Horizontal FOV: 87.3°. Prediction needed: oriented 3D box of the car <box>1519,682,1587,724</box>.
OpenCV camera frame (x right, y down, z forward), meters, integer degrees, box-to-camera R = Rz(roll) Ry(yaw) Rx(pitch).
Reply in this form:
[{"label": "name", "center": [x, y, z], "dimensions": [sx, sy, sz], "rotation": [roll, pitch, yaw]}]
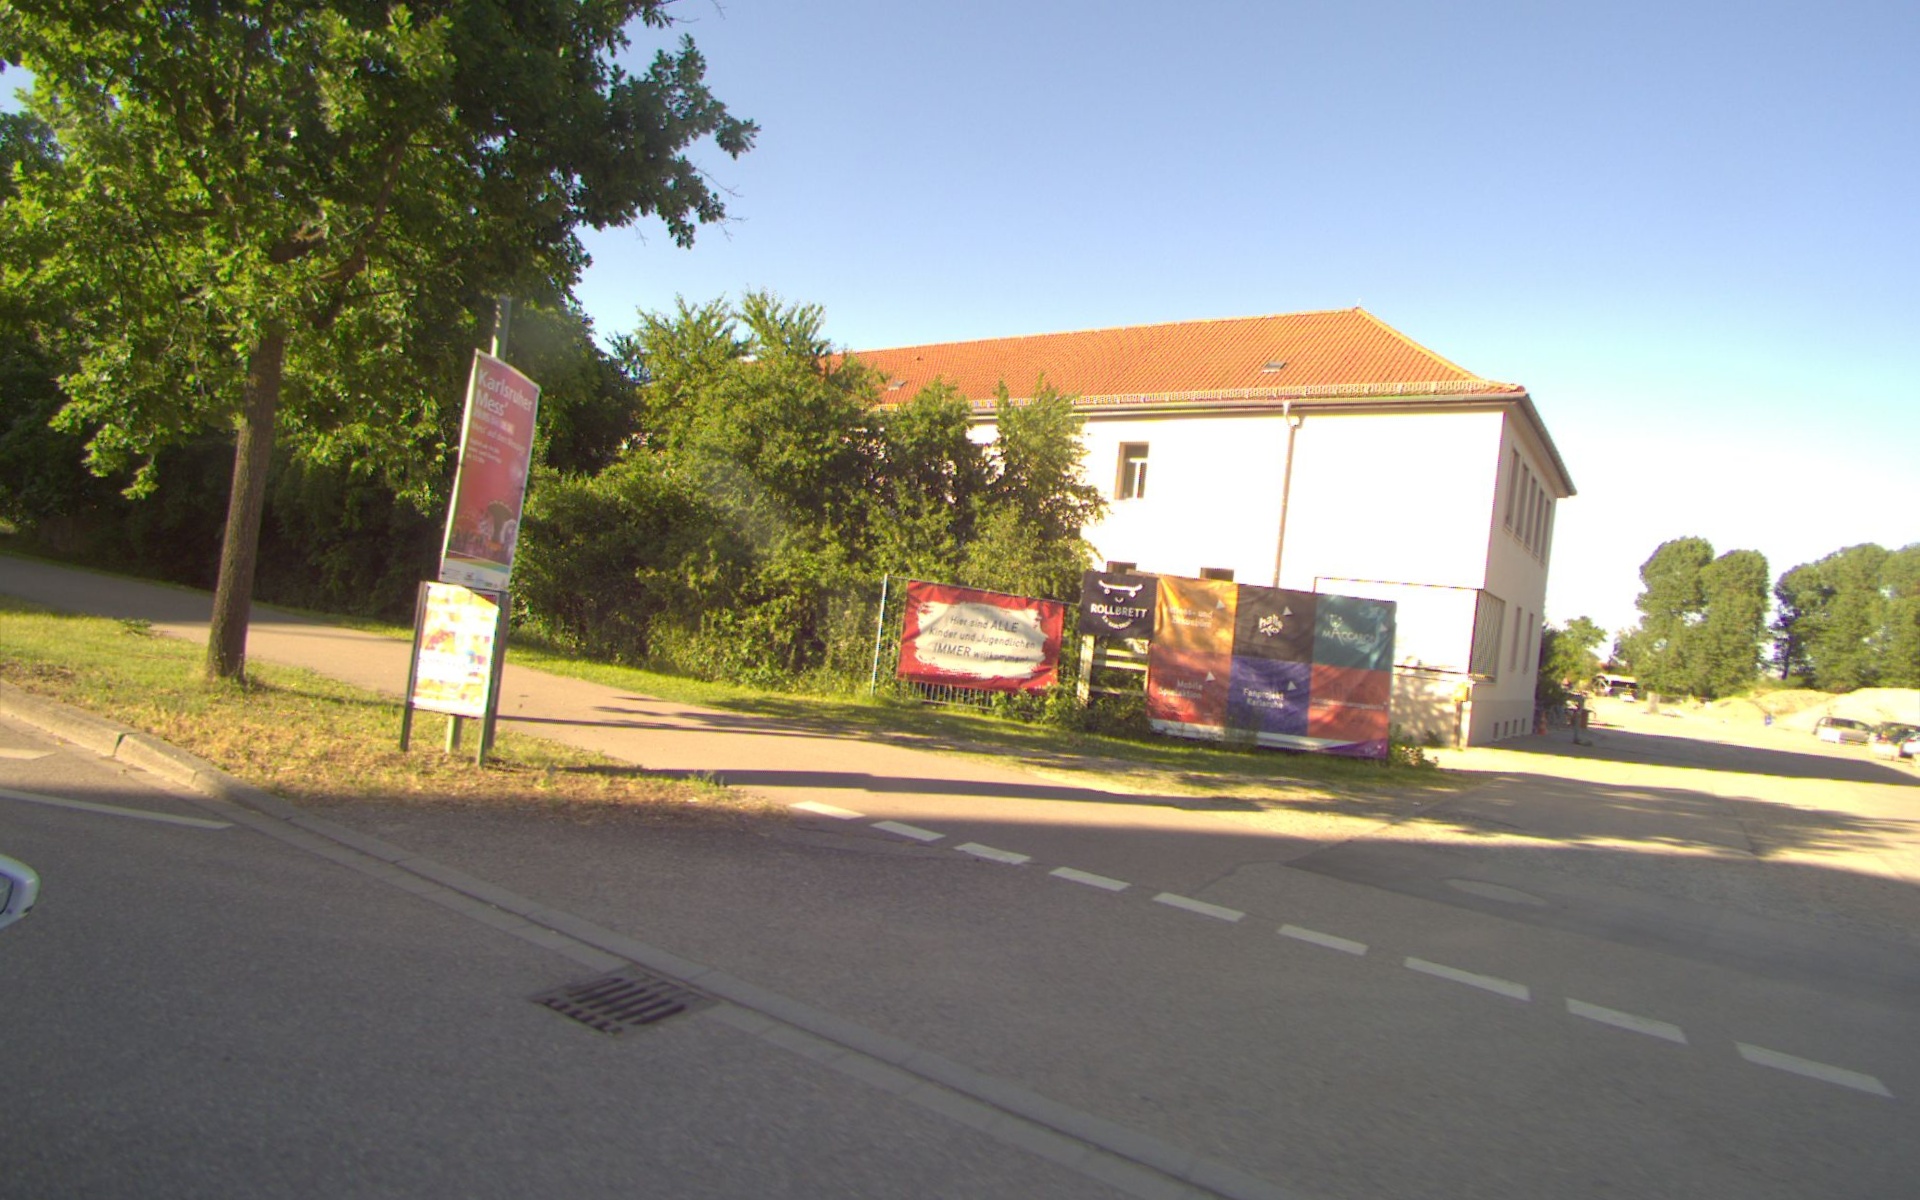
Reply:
[{"label": "car", "center": [31.848, 5.513, 54.075], "dimensions": [2.952, 1.814, 1.367], "rotation": [6, 0, 31]}]
